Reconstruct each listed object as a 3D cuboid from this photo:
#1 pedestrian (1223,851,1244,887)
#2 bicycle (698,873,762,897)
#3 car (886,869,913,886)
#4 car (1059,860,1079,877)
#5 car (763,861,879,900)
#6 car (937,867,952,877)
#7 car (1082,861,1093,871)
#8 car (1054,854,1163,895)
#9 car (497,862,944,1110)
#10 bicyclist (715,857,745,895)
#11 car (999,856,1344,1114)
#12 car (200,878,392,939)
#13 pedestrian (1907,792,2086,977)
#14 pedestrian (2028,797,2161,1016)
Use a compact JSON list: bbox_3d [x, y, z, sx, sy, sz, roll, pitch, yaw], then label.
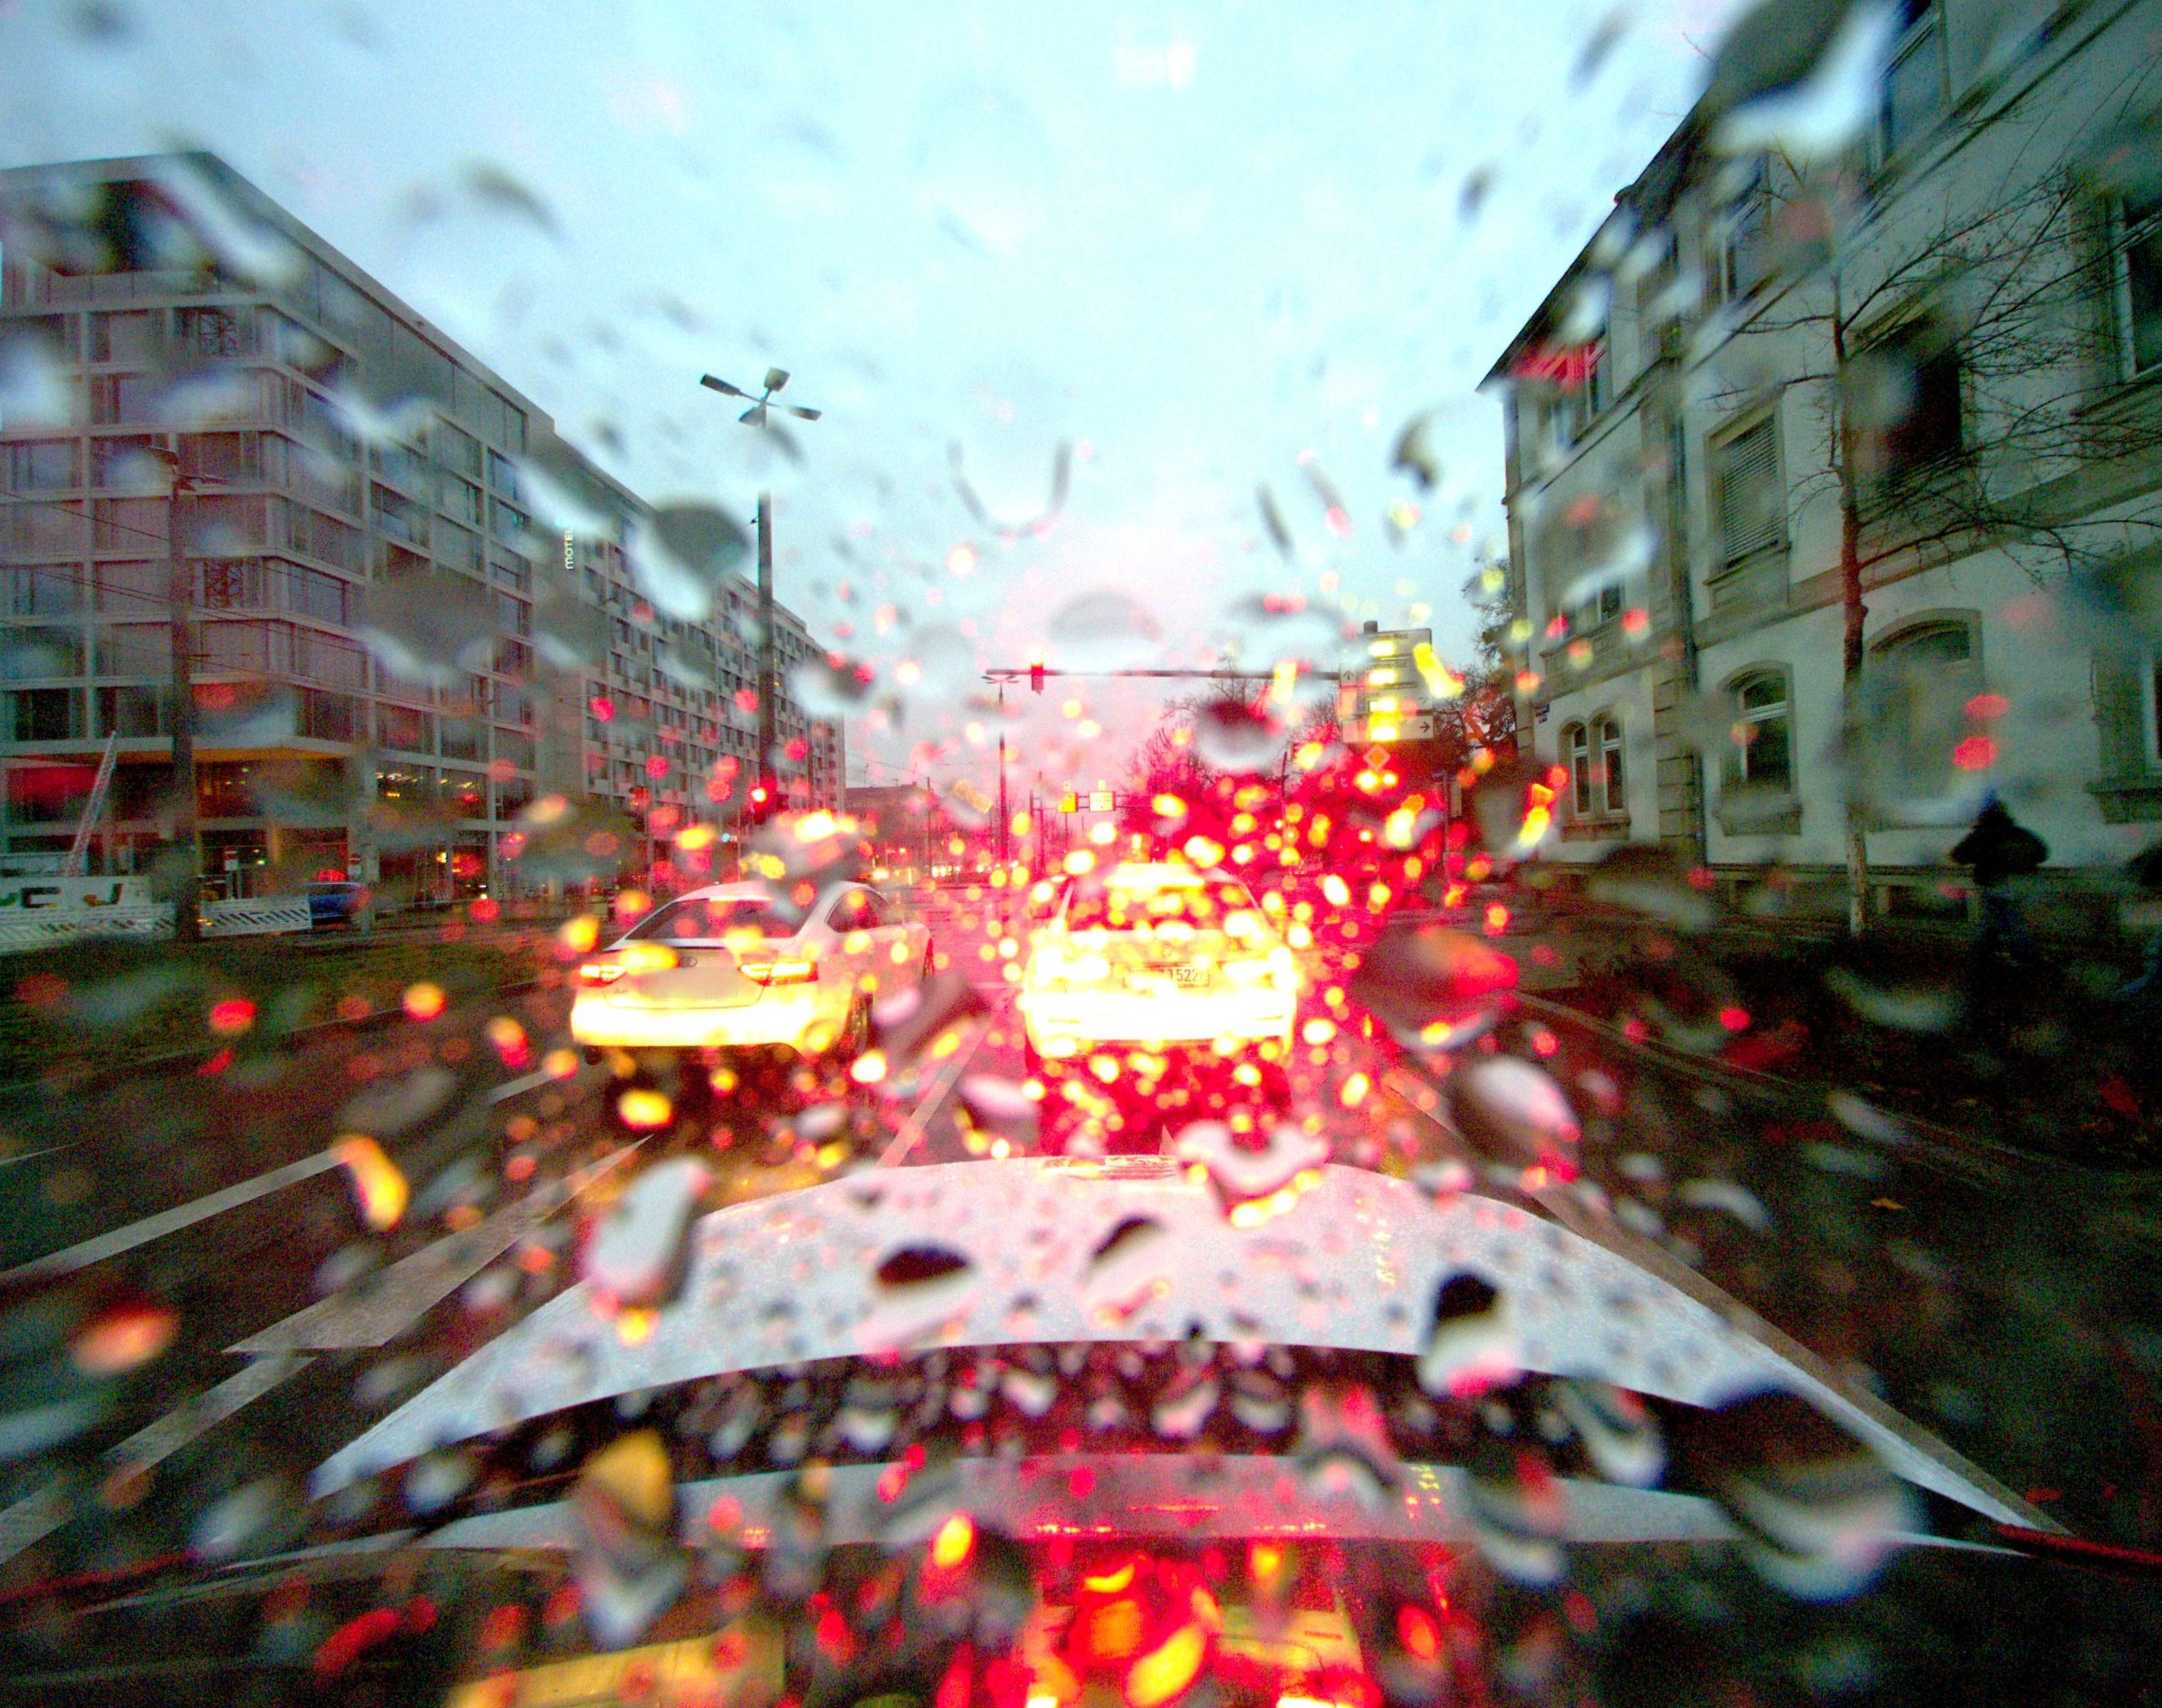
[{"bbox_3d":[7.931,0.794,42.411,0.894,1.856,0.817,-1,-1,26],"label":"pedestrian"},{"bbox_3d":[-16.437,1.428,38.136,2.653,1.089,0.816,0,-1,6],"label":"bicycle"},{"bbox_3d":[-17.163,2.214,77.259,1.669,1.508,3.697,0,-1,1],"label":"car"},{"bbox_3d":[-1.168,1.399,78.220,1.740,1.554,3.962,0,-1,-4],"label":"car"},{"bbox_3d":[-10.354,1.034,32.641,4.084,1.441,1.837,-1,-1,-4],"label":"car"},{"bbox_3d":[-21.275,2.850,127.323,1.669,1.508,3.697,0,-1,1],"label":"car"},{"bbox_3d":[1.142,1.993,137.022,1.836,1.609,3.945,0,-1,1],"label":"car"},{"bbox_3d":[1.121,0.815,32.477,4.066,1.529,1.845,-1,-1,11],"label":"car"},{"bbox_3d":[-2.591,0.833,7.214,1.987,1.456,4.367,-1,0,0],"label":"car"},{"bbox_3d":[-16.428,1.027,38.147,0.967,1.759,0.815,0,-1,6],"label":"bicyclist"},{"bbox_3d":[0.532,0.764,6.921,1.987,1.456,4.367,-1,0,0],"label":"car"},{"bbox_3d":[-23.476,1.561,24.522,4.023,1.622,1.698,1,-2,-45],"label":"car"},{"bbox_3d":[8.780,0.281,7.843,0.865,1.673,0.707,-2,0,1],"label":"pedestrian"},{"bbox_3d":[8.039,0.353,6.049,0.865,1.545,0.930,-2,0,2],"label":"pedestrian"}]
